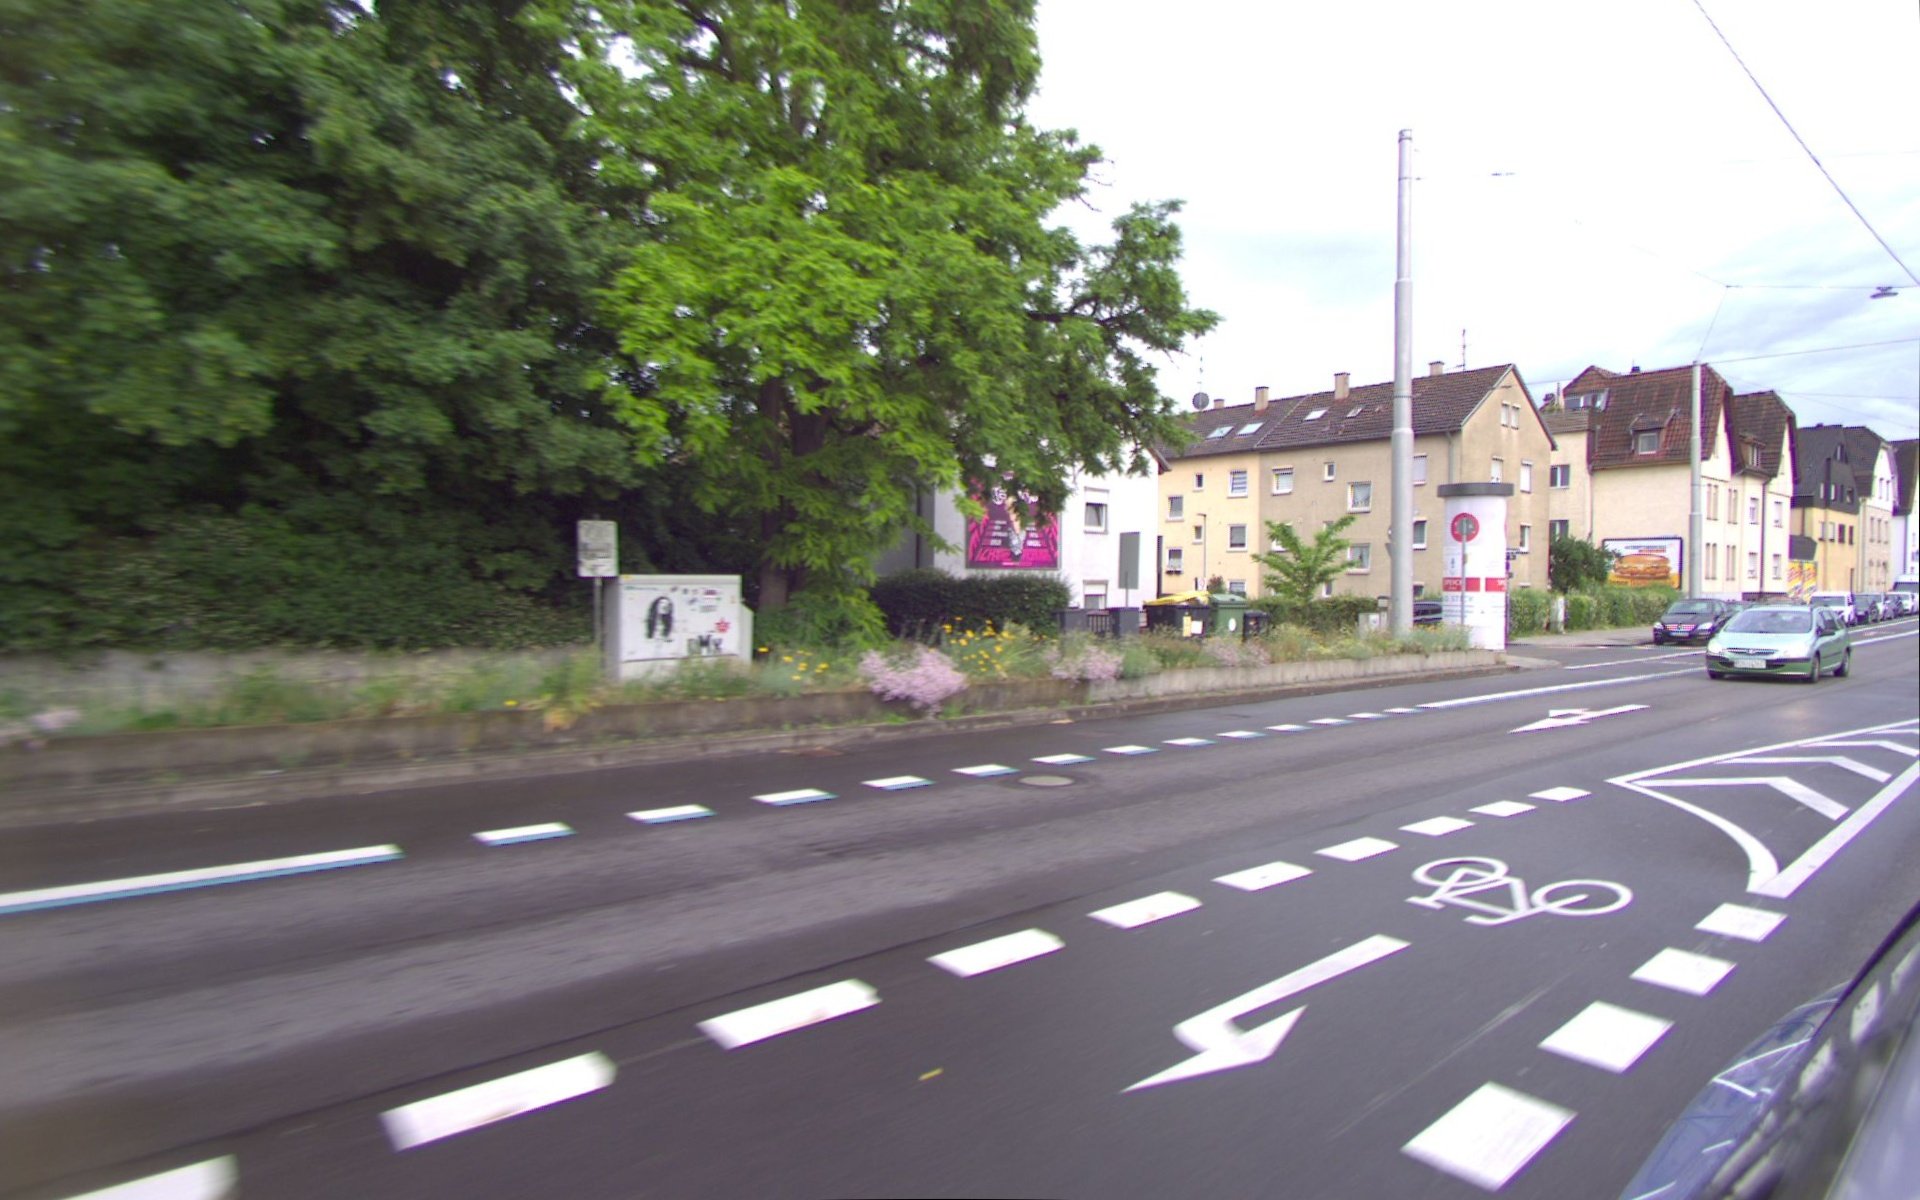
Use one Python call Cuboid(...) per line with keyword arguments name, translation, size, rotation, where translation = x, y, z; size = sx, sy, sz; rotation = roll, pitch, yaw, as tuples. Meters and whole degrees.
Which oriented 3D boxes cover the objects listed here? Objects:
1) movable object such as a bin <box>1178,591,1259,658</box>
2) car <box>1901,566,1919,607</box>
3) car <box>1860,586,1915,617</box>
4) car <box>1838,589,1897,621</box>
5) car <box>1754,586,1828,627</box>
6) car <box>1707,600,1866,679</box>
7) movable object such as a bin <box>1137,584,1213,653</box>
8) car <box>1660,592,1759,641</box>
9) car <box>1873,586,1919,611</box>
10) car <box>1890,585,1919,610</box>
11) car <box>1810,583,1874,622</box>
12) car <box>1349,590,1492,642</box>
Cuboid(name="movable object such as a bin", translation=(5.921, 0.532, 23.178), size=(1.279, 1.435, 1.312), rotation=(-2, 1, -43))
Cuboid(name="car", translation=(64.011, -0.940, 66.844), size=(5.818, 2.530, 2.043), rotation=(-2, 1, -40))
Cuboid(name="car", translation=(52.145, 0.042, 56.888), size=(4.206, 1.586, 1.705), rotation=(-2, 1, -39))
Cuboid(name="car", translation=(47.460, 0.227, 52.879), size=(4.063, 1.531, 1.690), rotation=(-2, 1, -39))
Cuboid(name="car", translation=(36.180, 0.253, 44.016), size=(4.028, 1.648, 1.840), rotation=(-1, 0, -41))
Cuboid(name="car", translation=(17.053, 0.740, 20.809), size=(4.128, 1.467, 1.886), rotation=(0, -1, -41))
Cuboid(name="movable object such as a bin", translation=(4.723, 0.392, 22.207), size=(1.116, 1.435, 1.185), rotation=(-2, 1, -43))
Cuboid(name="car", translation=(25.829, 0.533, 34.827), size=(4.362, 1.553, 1.839), rotation=(-1, 0, -41))
Cuboid(name="car", translation=(55.942, -0.101, 60.412), size=(3.724, 1.419, 1.604), rotation=(-2, 1, -39))
Cuboid(name="car", translation=(59.662, -0.177, 63.336), size=(4.126, 1.483, 1.604), rotation=(-2, 1, -39))
Cuboid(name="car", translation=(43.599, 0.098, 49.995), size=(4.445, 1.779, 1.849), rotation=(-1, 0, -42))
Cuboid(name="car", translation=(16.447, 0.595, 36.335), size=(1.845, 1.676, 4.284), rotation=(-2, 0, -37))
